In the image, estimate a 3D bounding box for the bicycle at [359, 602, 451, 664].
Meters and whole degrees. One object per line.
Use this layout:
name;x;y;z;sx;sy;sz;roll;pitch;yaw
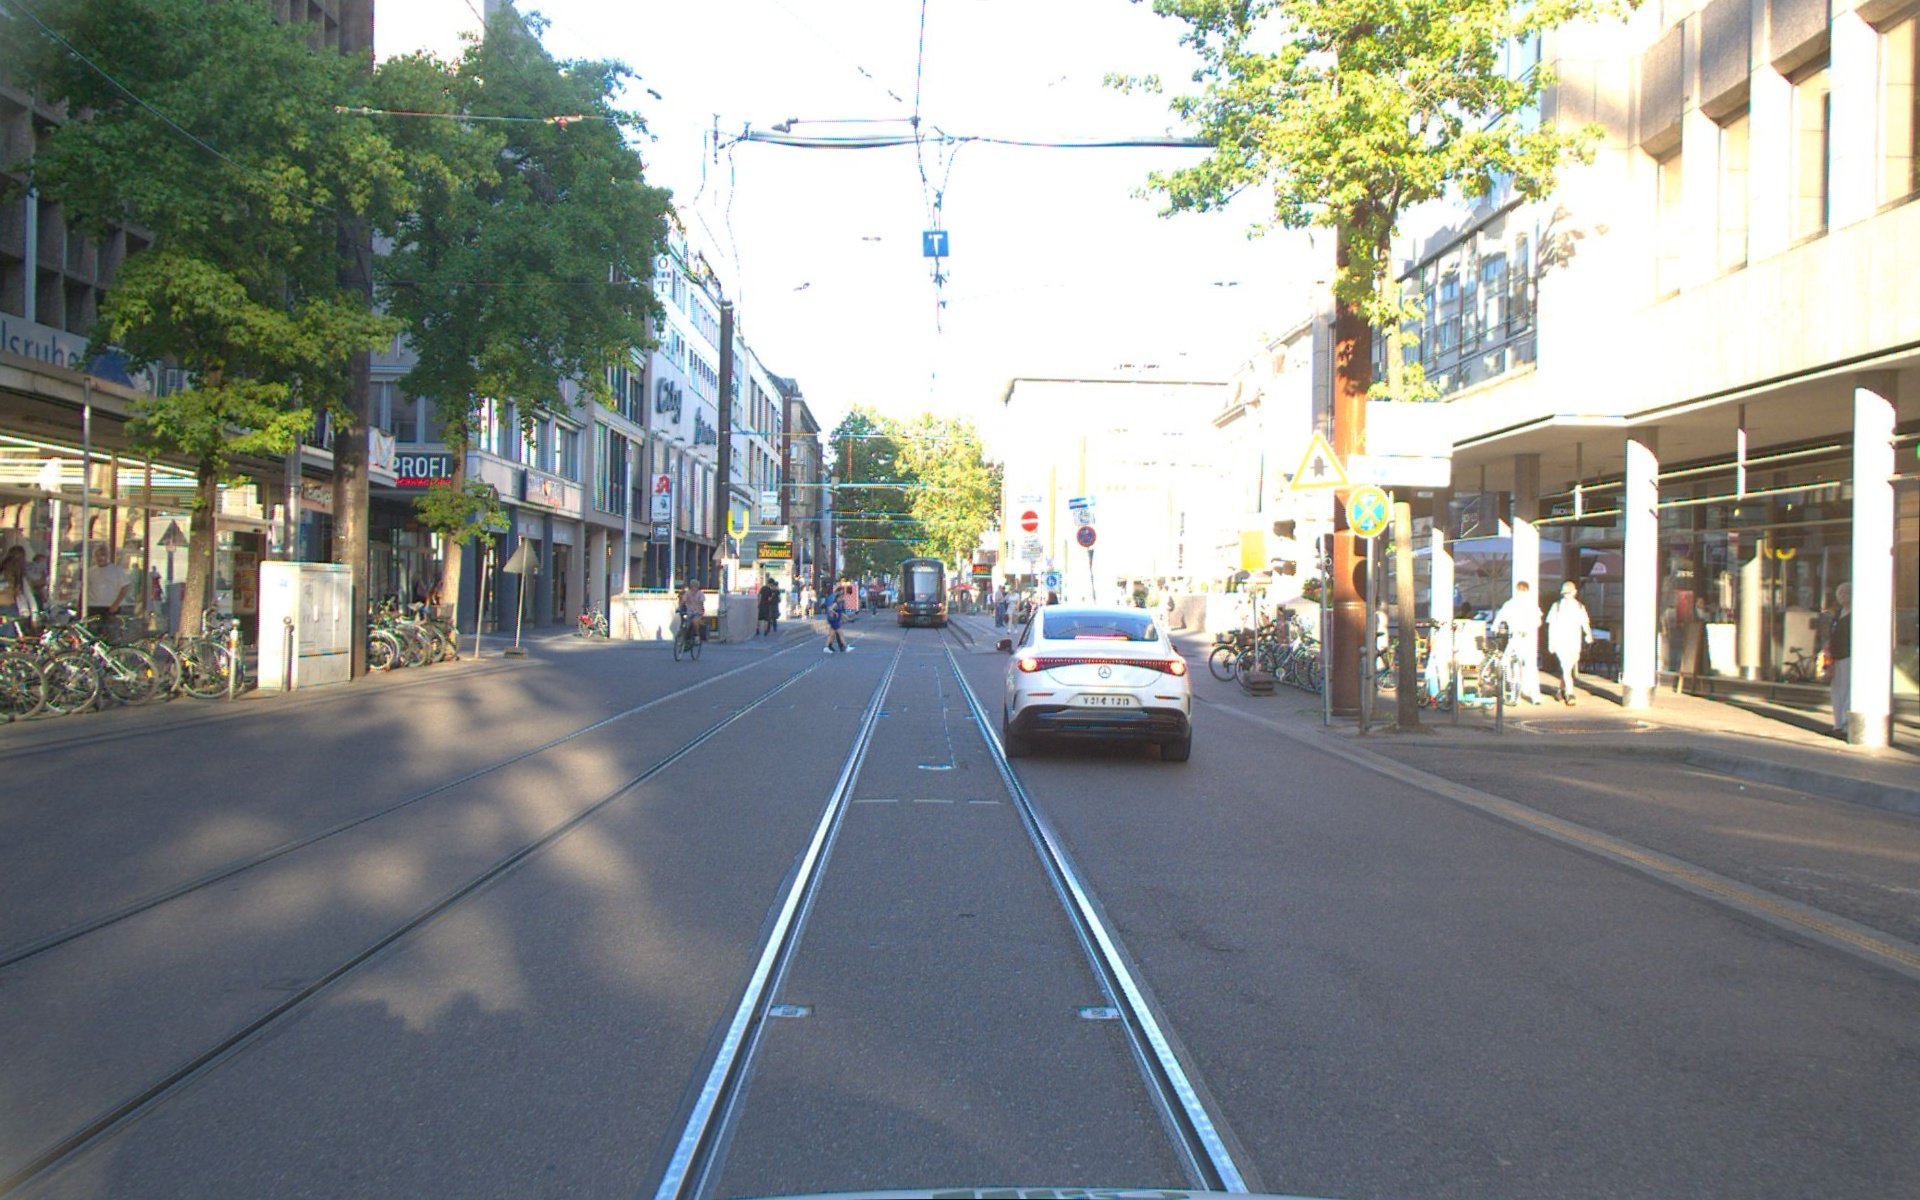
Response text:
bicycle;-9.736;0.582;29.063;1.466;1.027;0.344;2;0;-12

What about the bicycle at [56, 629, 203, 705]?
bicycle;-9.421;0.756;18.784;1.462;0.797;0.344;2;0;0

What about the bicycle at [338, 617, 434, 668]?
bicycle;-9.615;0.709;27.739;1.462;0.797;0.344;2;0;0

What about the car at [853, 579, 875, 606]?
car;-9.145;-0.708;157.651;1.871;2.504;5.274;0;0;-1

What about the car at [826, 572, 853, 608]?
car;-10.097;-0.816;138.838;1.953;2.948;5.274;0;0;-1

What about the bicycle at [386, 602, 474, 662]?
bicycle;-9.688;0.579;30.250;1.466;1.047;0.344;2;0;-12

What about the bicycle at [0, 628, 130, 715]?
bicycle;-9.571;0.749;17.418;1.462;0.855;0.344;2;0;0

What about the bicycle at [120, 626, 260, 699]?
bicycle;-9.082;0.732;19.517;1.462;0.797;0.344;2;0;0

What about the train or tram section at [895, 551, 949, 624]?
train or tram section;-2.033;-0.656;88.589;2.640;3.578;12.542;0;0;-1

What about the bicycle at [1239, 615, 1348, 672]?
bicycle;6.607;0.854;32.779;2.077;1.115;0.608;0;0;-13

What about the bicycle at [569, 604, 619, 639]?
bicycle;-11.201;0.635;50.660;0.703;1.027;2.041;1;0;12

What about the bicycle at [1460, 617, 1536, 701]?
bicycle;7.992;0.855;24.646;0.553;1.147;1.930;-1;0;2

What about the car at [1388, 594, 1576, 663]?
car;11.830;0.637;37.578;3.729;1.499;1.647;0;0;-7

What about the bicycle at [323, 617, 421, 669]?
bicycle;-9.728;0.716;27.373;1.462;0.797;0.344;2;0;0

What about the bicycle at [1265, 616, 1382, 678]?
bicycle;6.725;0.864;30.583;2.078;1.115;0.607;0;0;-15

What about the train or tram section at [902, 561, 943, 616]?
train or tram section;-2.563;-0.776;112.971;2.640;3.578;11.140;0;0;-1

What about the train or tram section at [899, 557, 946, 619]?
train or tram section;-2.302;-0.721;101.136;2.640;3.578;12.542;0;0;-1

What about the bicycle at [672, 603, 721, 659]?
bicycle;-5.932;0.684;37.317;0.784;1.162;2.256;2;0;-3

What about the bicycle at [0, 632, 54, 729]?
bicycle;-9.437;0.745;15.647;1.464;0.892;0.344;2;0;-8

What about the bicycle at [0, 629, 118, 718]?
bicycle;-9.493;0.749;17.011;1.462;0.855;0.344;2;0;0

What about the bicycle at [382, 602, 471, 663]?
bicycle;-9.634;0.578;29.879;1.466;1.047;0.344;2;0;-12

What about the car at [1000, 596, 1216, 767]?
car;1.395;0.734;17.062;1.819;1.481;4.175;2;0;0

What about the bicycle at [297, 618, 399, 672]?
bicycle;-9.721;0.716;26.298;1.462;0.797;0.344;2;0;0

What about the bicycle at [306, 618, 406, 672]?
bicycle;-9.726;0.720;26.653;1.462;0.797;0.344;2;0;0

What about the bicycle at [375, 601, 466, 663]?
bicycle;-9.615;0.568;29.505;1.466;1.047;0.344;2;0;-12

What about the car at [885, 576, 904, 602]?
car;-7.497;-1.236;189.746;2.056;2.948;5.274;0;0;-1

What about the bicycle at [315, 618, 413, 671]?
bicycle;-9.729;0.720;27.013;1.462;0.797;0.344;2;0;0

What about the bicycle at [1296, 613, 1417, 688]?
bicycle;6.575;0.827;27.438;1.875;1.177;0.608;-1;0;-13

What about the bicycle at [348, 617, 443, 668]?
bicycle;-9.592;0.719;28.108;1.462;0.797;0.344;2;0;0

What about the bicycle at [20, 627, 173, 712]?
bicycle;-9.410;0.754;18.040;1.462;0.855;0.344;2;0;0

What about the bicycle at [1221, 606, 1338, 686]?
bicycle;5.452;0.774;28.232;1.875;1.303;0.608;-1;0;-13

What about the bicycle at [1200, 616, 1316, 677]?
bicycle;5.620;0.877;31.221;2.077;1.115;0.608;1;0;-13

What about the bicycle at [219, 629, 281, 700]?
bicycle;-8.779;0.781;20.484;0.337;0.797;1.402;2;0;-9

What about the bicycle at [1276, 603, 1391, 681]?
bicycle;6.585;0.731;29.168;1.875;1.303;0.608;-1;0;-13
